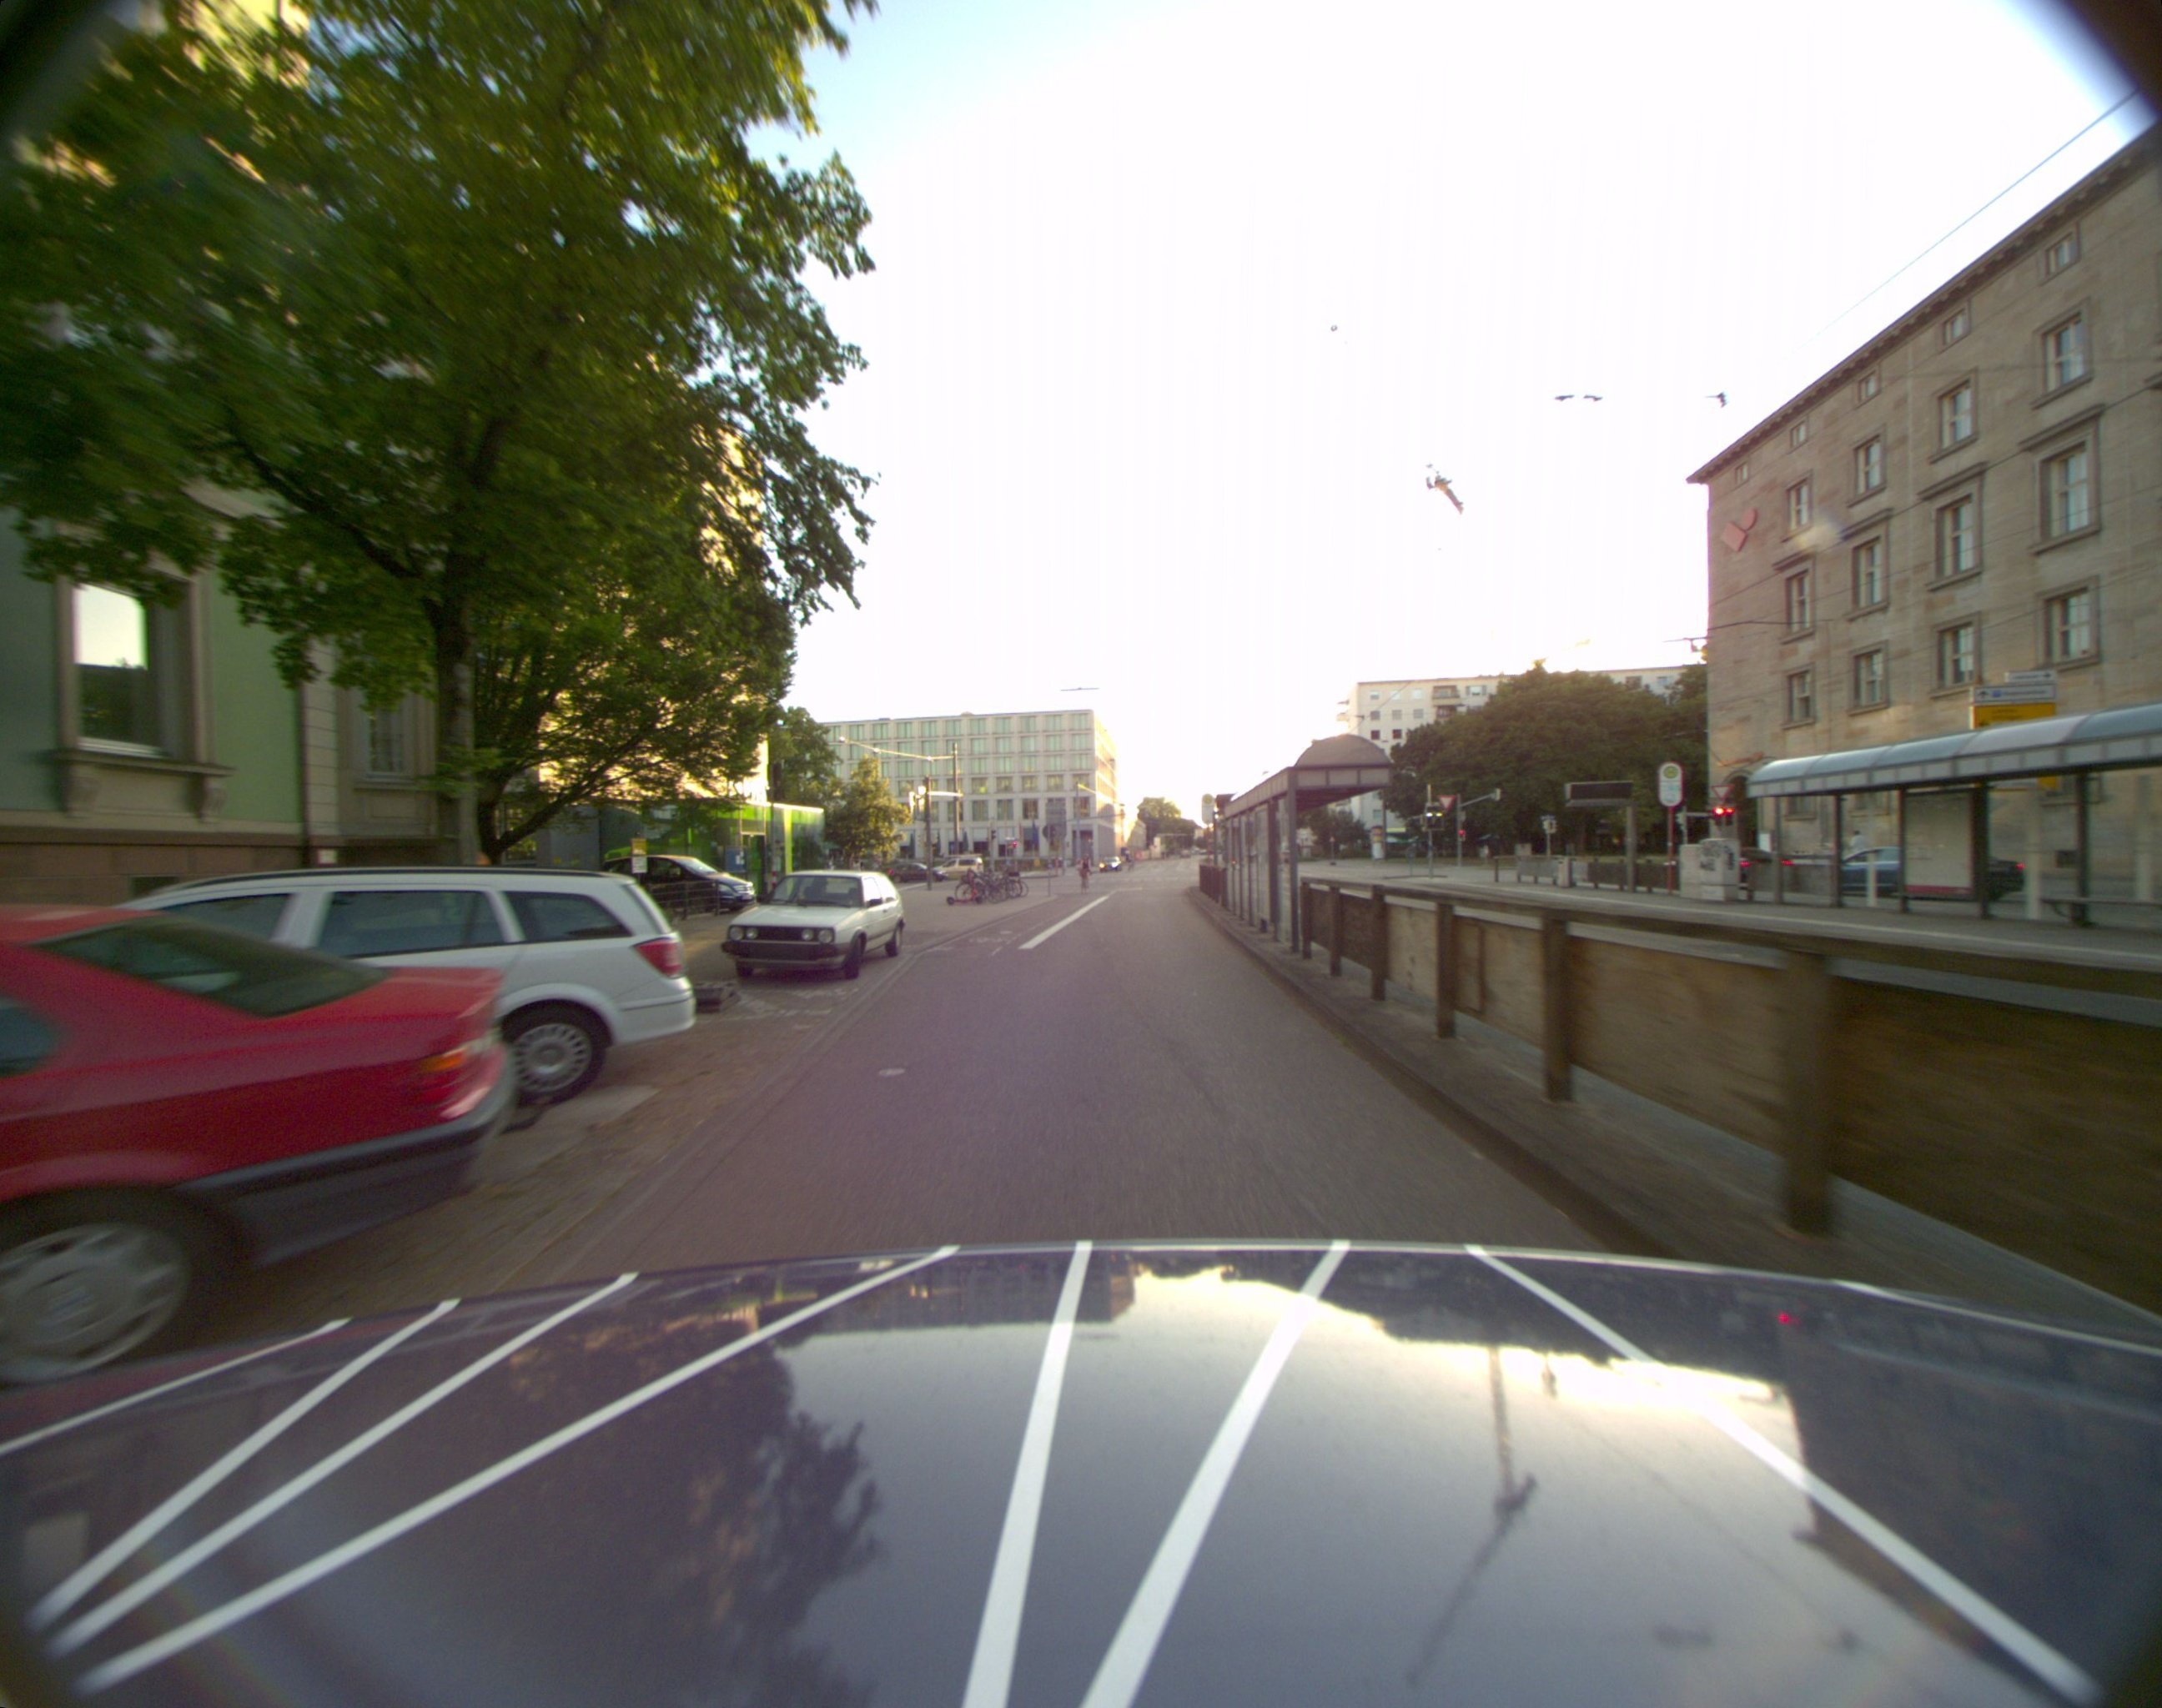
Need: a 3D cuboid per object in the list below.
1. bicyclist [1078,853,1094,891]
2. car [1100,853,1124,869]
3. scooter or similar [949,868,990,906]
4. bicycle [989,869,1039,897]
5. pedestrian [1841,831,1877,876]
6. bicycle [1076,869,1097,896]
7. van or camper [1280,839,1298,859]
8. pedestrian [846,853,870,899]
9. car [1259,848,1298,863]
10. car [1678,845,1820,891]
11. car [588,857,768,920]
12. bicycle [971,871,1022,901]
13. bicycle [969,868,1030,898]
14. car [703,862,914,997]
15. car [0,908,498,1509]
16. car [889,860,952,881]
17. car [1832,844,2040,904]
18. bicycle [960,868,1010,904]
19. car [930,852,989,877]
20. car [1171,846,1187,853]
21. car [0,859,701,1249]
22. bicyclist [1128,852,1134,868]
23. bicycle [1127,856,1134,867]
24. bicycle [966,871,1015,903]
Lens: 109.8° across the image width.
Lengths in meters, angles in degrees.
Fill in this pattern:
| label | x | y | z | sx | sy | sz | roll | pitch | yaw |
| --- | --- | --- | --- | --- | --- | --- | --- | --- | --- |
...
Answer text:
| label | x | y | z | sx | sy | sz | roll | pitch | yaw |
| --- | --- | --- | --- | --- | --- | --- | --- | --- | --- |
| bicyclist | 0.225 | 0.799 | 33.155 | 0.609 | 1.626 | 0.597 | -1 | 1 | 7 |
| car | 3.311 | 0.739 | 79.821 | 1.814 | 1.514 | 4.814 | -3 | 0 | 10 |
| scooter or similar | -3.673 | 1.083 | 25.032 | 1.202 | 1.218 | 0.591 | 0 | 1 | 9 |
| bicycle | -2.688 | 1.159 | 30.606 | 1.861 | 1.068 | 0.745 | -1 | 0 | 26 |
| pedestrian | 29.793 | -0.014 | 29.094 | 0.696 | 1.700 | 0.646 | -1 | 1 | 11 |
| bicycle | 0.256 | 1.219 | 33.256 | 0.609 | 1.108 | 2.087 | -1 | 0 | 8 |
| van or camper | 29.699 | -0.667 | 108.604 | 2.109 | 2.665 | 4.715 | -2 | -2 | 10 |
| pedestrian | -8.756 | 0.851 | 29.888 | 0.708 | 1.757 | 0.989 | -2 | 1 | -7 |
| car | 23.102 | 0.145 | 88.964 | 1.890 | 1.654 | 4.335 | -2 | 0 | -31 |
| car | 23.007 | 0.450 | 26.400 | 1.646 | 1.419 | 4.235 | -1 | 0 | 8 |
| car | -10.858 | 0.921 | 20.603 | 3.991 | 1.564 | 1.805 | -1 | -1 | 8 |
| bicycle | -3.220 | 1.197 | 28.866 | 1.758 | 1.068 | 0.745 | -2 | 0 | 10 |
| bicycle | -3.193 | 1.141 | 29.663 | 2.234 | 1.125 | 0.745 | 0 | 1 | 10 |
| car | -3.753 | 0.943 | 11.233 | 1.684 | 1.543 | 4.000 | 2 | 0 | -1 |
| car | -4.287 | 1.041 | 2.010 | 4.217 | 1.445 | 1.641 | -2 | 0 | -34 |
| car | -11.775 | 1.207 | 55.727 | 4.167 | 1.412 | 1.699 | -1 | 1 | 10 |
| car | 22.359 | 0.475 | 20.098 | 1.646 | 1.419 | 3.707 | -1 | 0 | 8 |
| bicycle | -3.285 | 1.092 | 26.032 | 1.528 | 1.156 | 0.745 | -1 | 0 | 10 |
| car | -10.077 | 0.861 | 63.224 | 4.459 | 1.900 | 1.806 | -2 | 0 | 7 |
| car | 23.396 | -1.010 | 181.807 | 3.804 | 1.639 | 1.864 | -1 | 0 | 8 |
| car | -4.822 | 0.957 | 4.656 | 4.217 | 1.715 | 1.718 | -2 | 0 | -34 |
| bicyclist | 4.997 | 0.591 | 76.240 | 0.540 | 1.626 | 0.597 | -1 | 1 | 8 |
| bicycle | 4.963 | 0.705 | 76.059 | 0.539 | 1.045 | 1.762 | -1 | 0 | 9 |
| bicycle | -3.232 | 1.166 | 27.126 | 1.554 | 1.068 | 0.745 | -2 | 0 | 10 |
